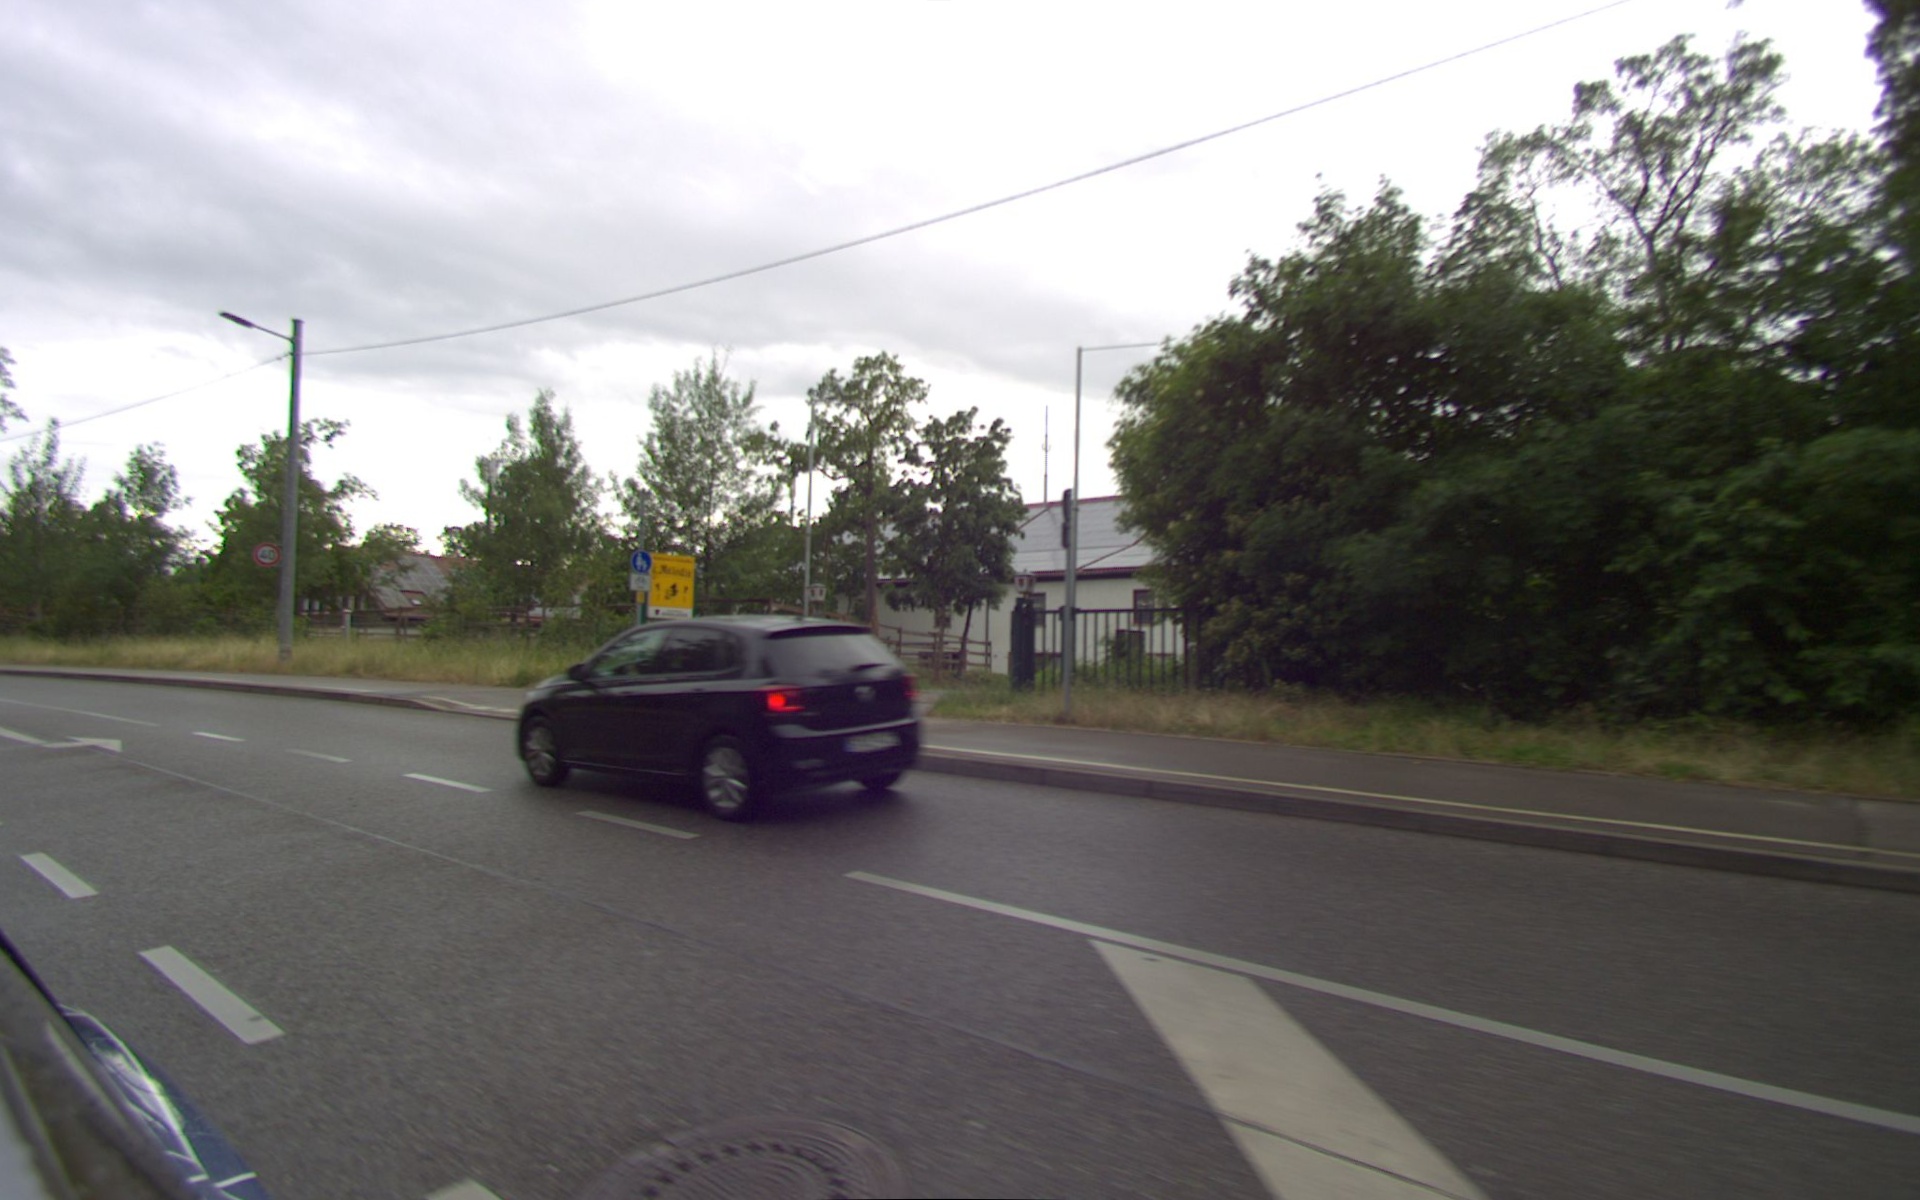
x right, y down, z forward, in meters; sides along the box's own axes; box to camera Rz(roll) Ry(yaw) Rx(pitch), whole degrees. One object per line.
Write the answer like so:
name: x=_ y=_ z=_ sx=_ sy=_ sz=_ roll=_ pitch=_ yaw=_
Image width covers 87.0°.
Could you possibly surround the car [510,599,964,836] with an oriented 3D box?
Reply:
car: x=-1.937 y=0.782 z=8.197 sx=3.788 sy=1.488 sz=1.579 roll=-2 pitch=-1 yaw=39
